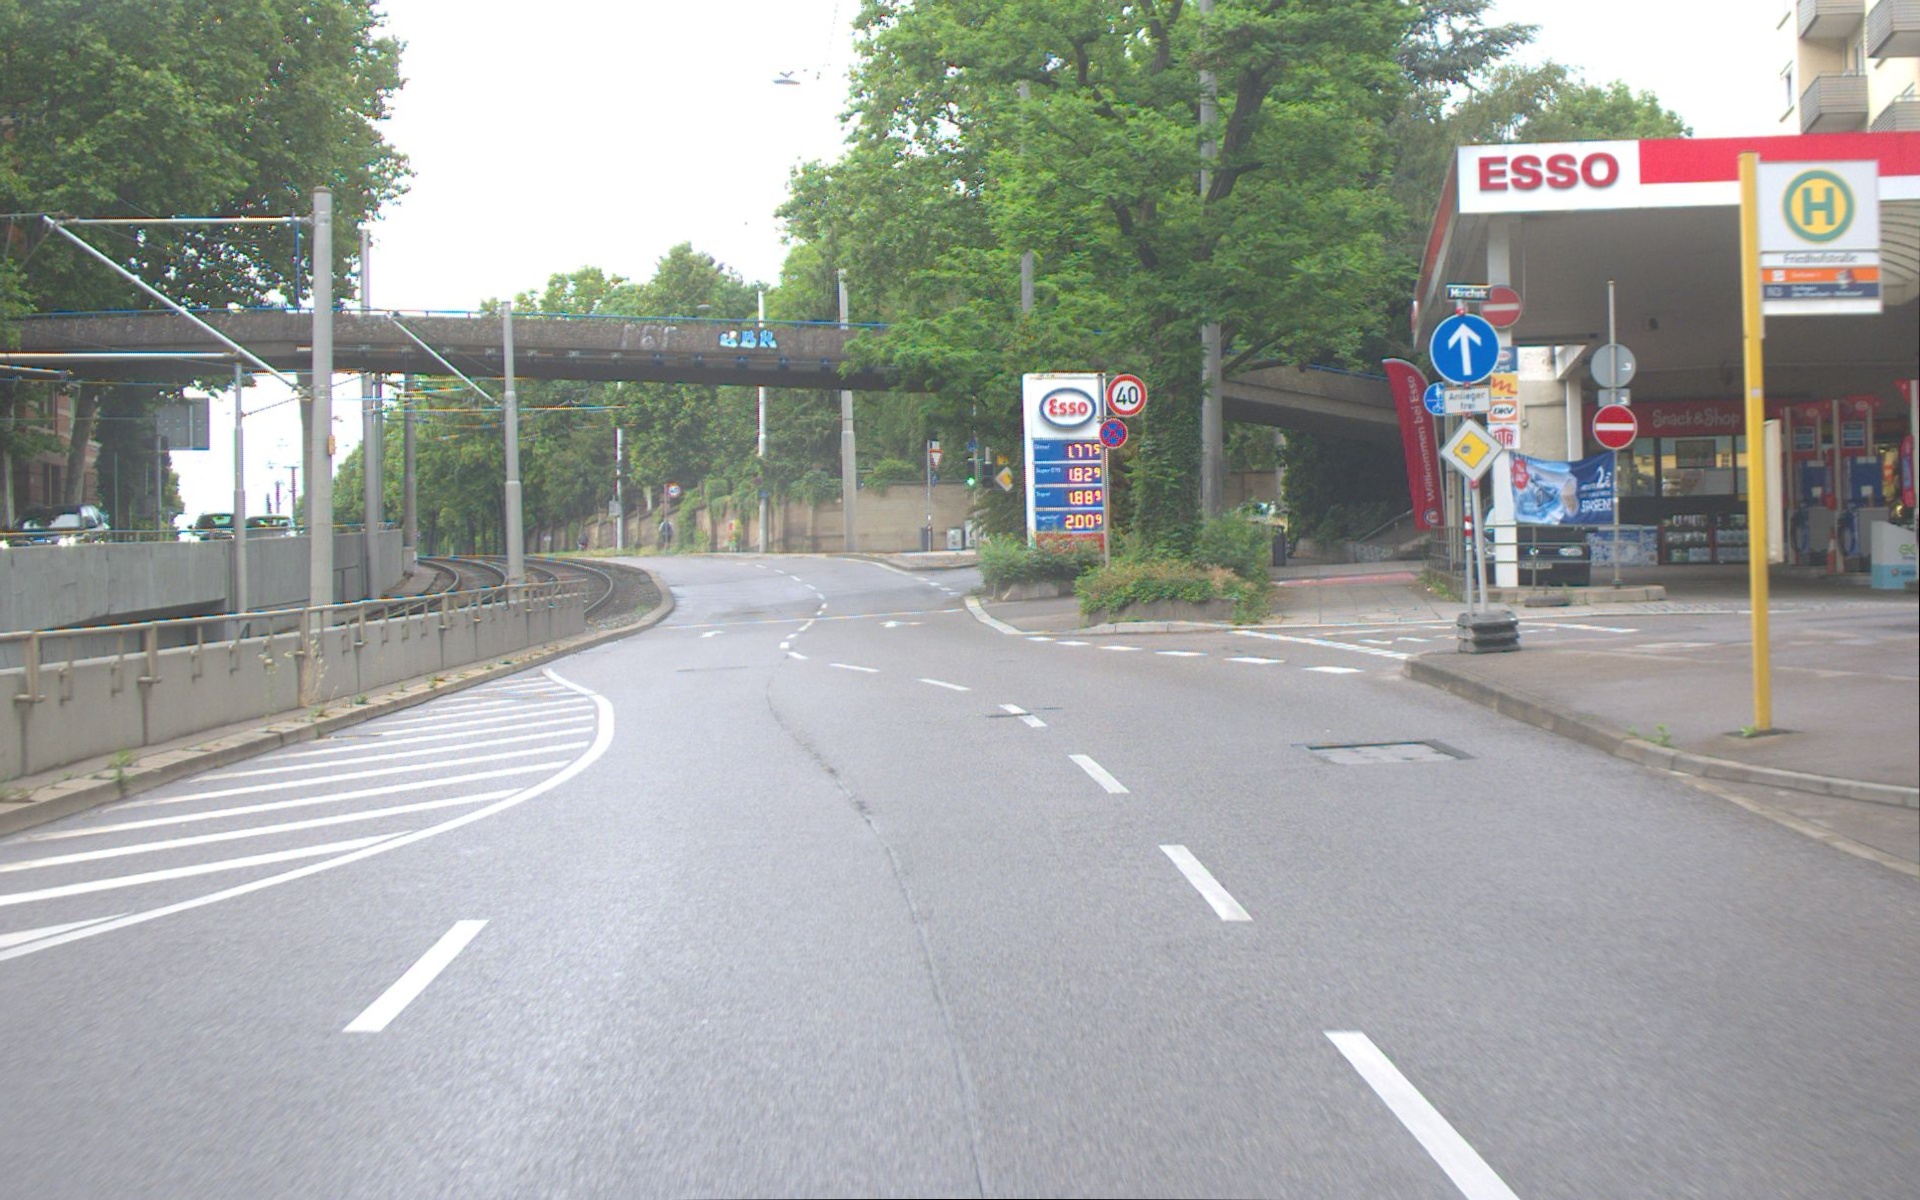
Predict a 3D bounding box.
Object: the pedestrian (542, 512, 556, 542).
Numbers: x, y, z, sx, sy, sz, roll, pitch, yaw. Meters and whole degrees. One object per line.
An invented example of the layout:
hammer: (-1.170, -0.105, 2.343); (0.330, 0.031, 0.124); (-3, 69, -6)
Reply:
pedestrian: (-23.502, -4.172, 196.732); (0.719, 1.681, 0.729); (0, 0, -13)

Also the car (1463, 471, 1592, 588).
car: (8.531, -1.048, 51.903); (1.773, 1.618, 3.865); (-3, 0, 8)

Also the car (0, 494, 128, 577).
car: (-21.041, -1.515, 80.214); (1.956, 1.846, 4.968); (1, 1, 1)
